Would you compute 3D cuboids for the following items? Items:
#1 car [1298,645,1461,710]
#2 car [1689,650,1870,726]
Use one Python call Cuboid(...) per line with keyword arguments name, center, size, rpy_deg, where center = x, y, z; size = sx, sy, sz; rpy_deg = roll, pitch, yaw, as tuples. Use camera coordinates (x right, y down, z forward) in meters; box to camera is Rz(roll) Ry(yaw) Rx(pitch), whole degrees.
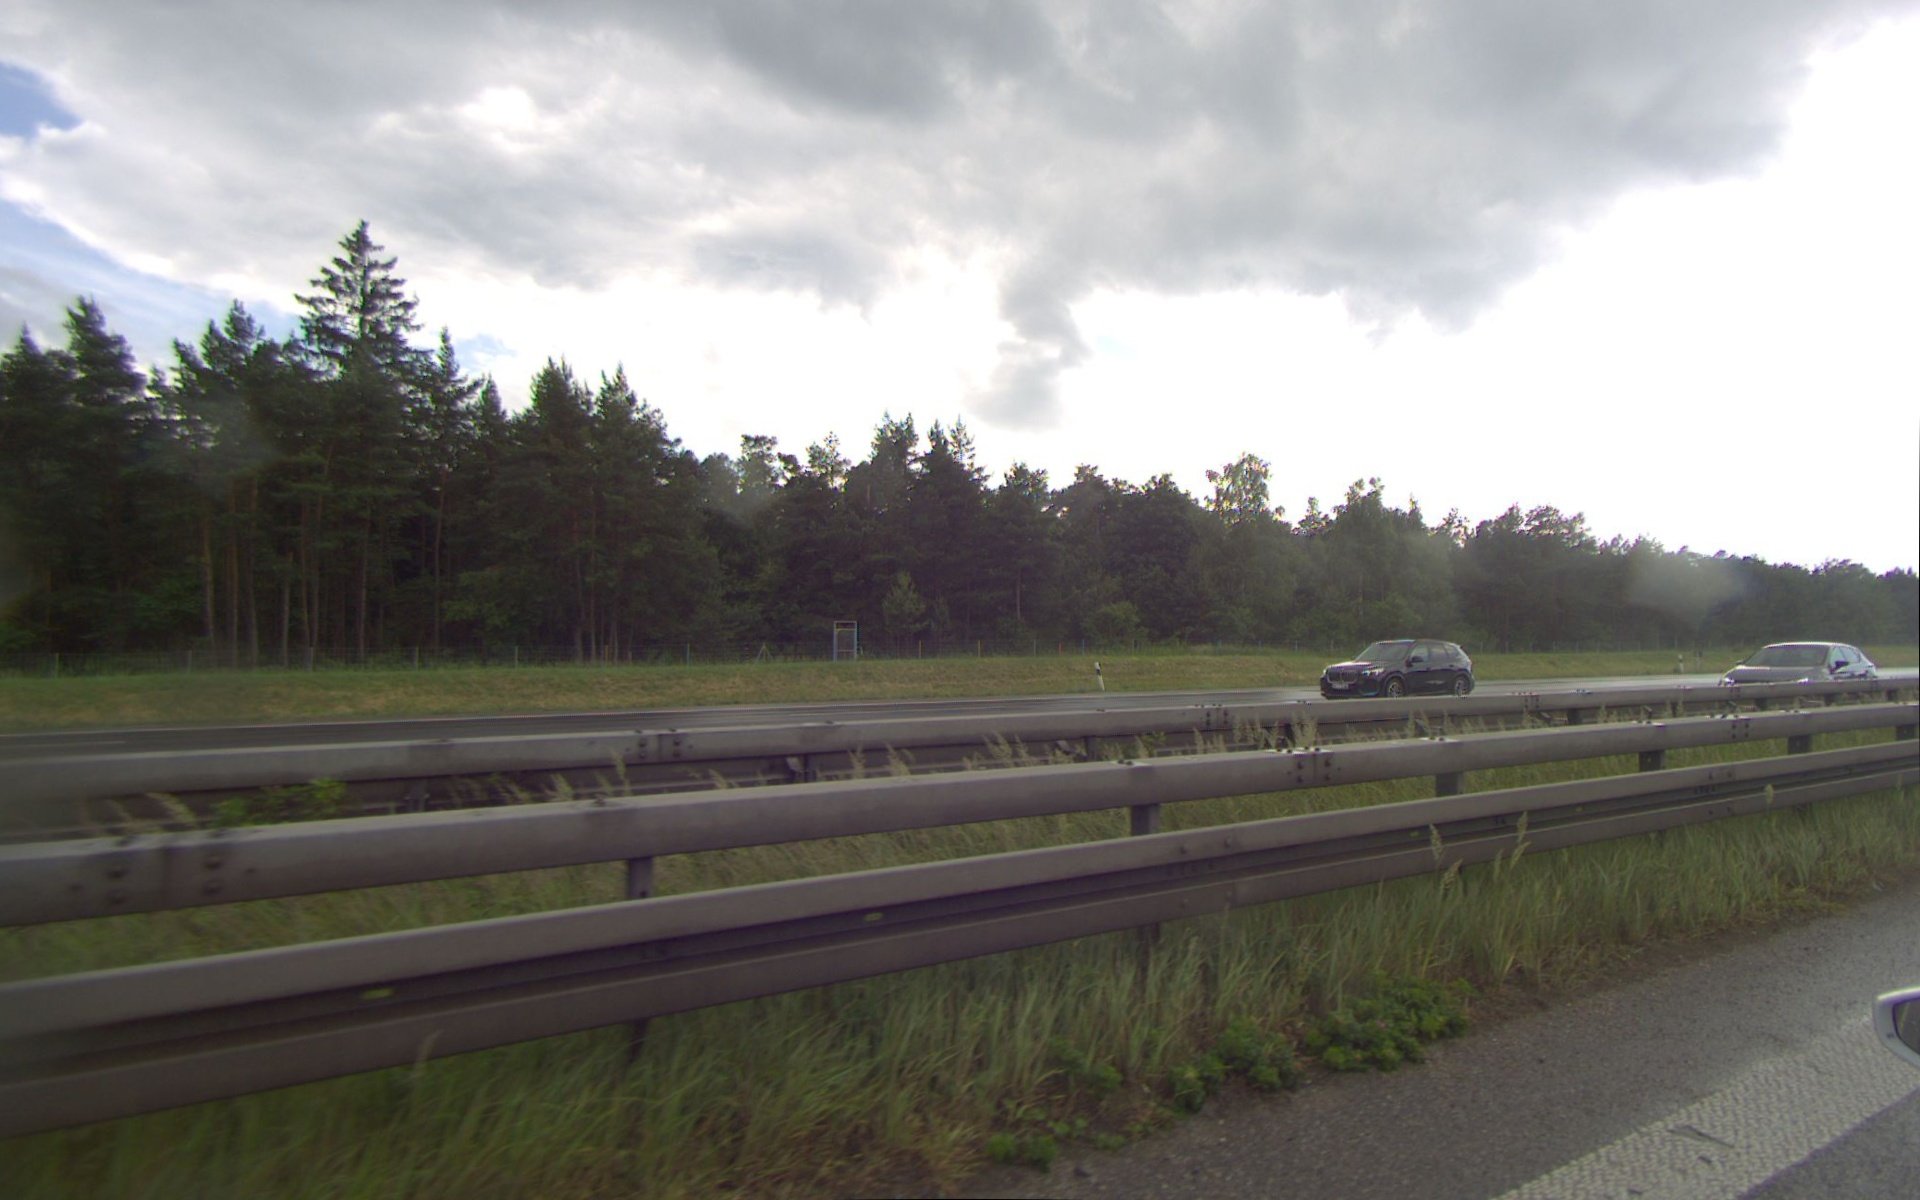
Cuboid(name="car", center=(10.574, 1.896, 25.277), size=(3.956, 1.491, 1.865), rpy_deg=(2, -3, -32))
Cuboid(name="car", center=(17.624, 1.815, 21.576), size=(3.956, 1.450, 1.864), rpy_deg=(2, -2, -32))
